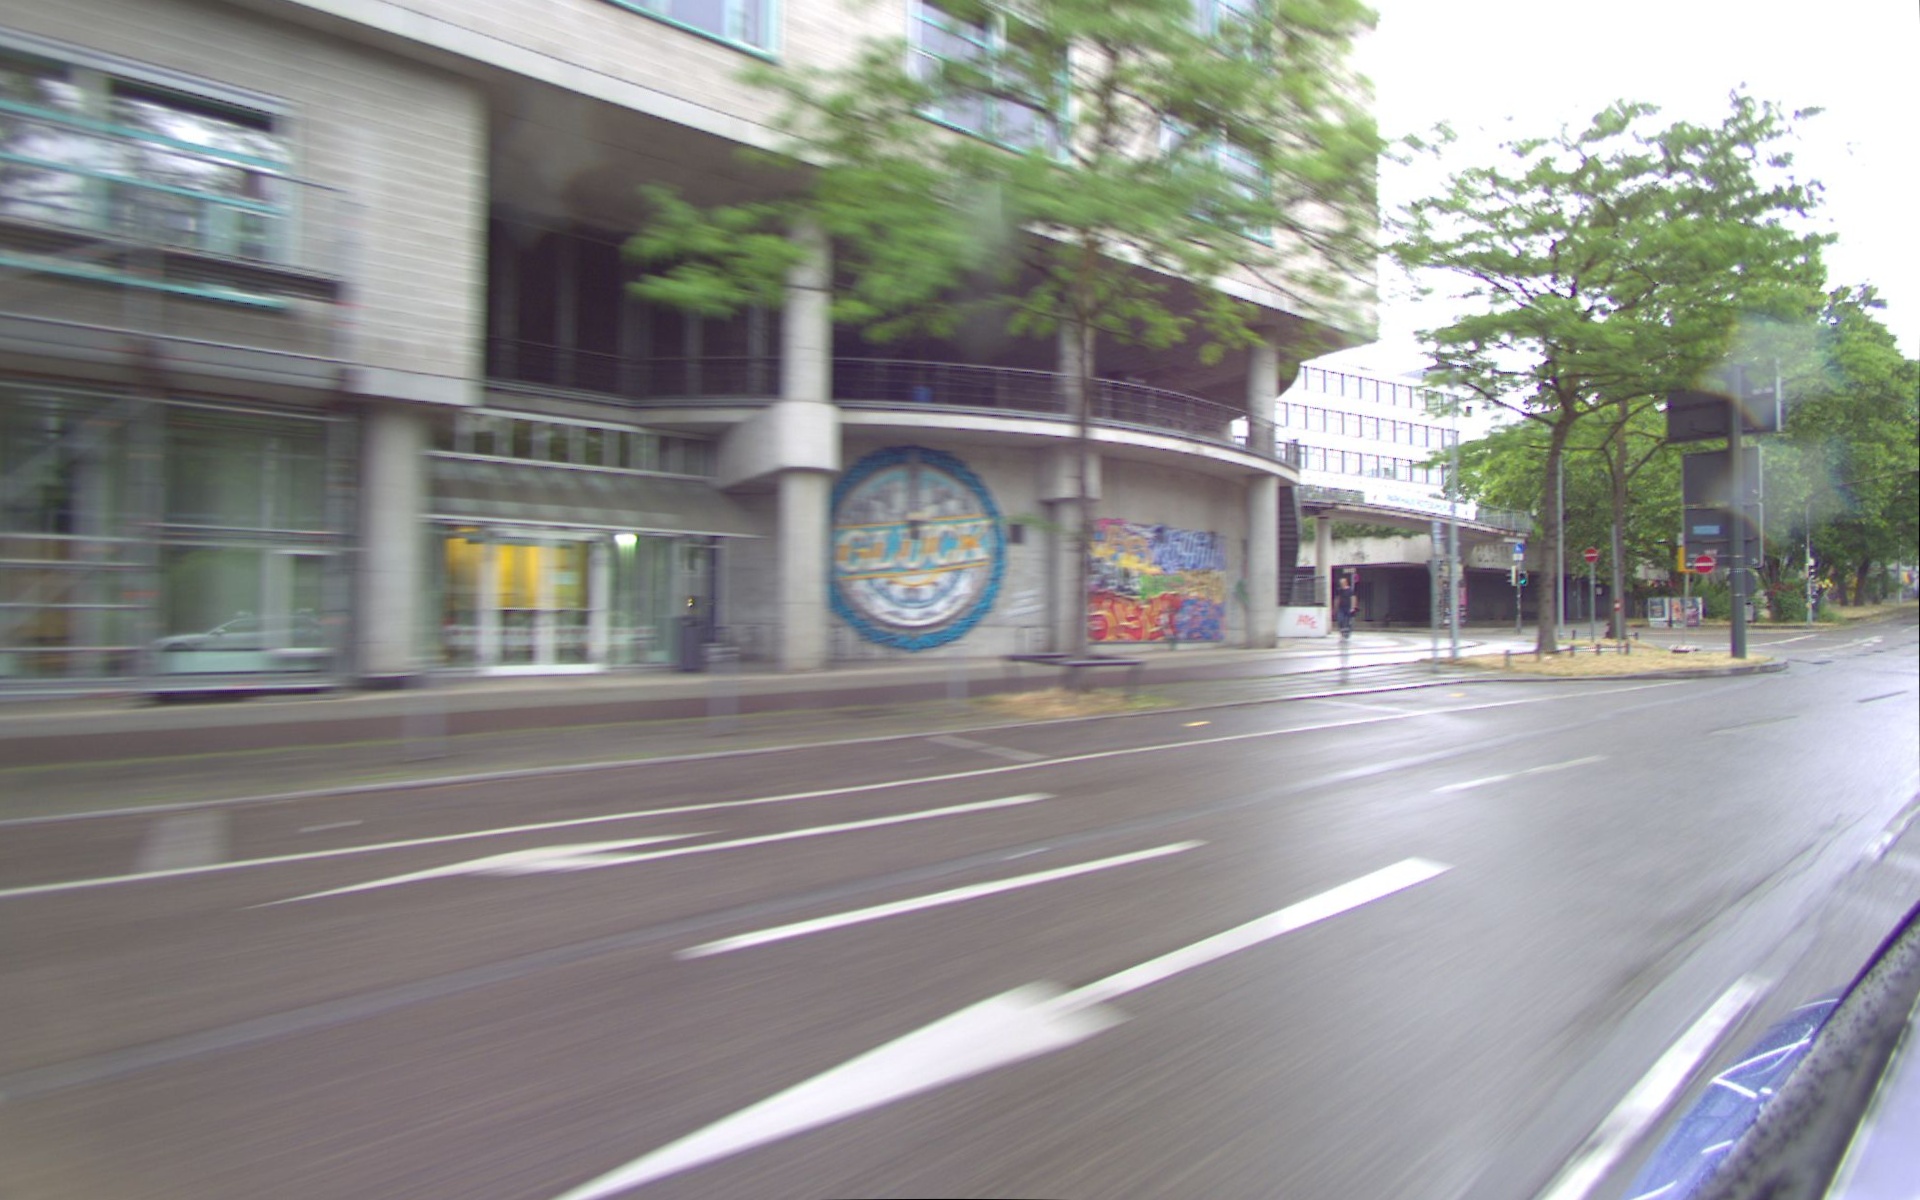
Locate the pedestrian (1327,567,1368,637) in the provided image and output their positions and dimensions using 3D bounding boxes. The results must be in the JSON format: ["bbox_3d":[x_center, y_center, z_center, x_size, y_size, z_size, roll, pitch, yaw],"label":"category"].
[{"bbox_3d":[11.524,0.066,30.089,0.745,2.039,0.870,0,-1,-41],"label":"pedestrian"}]
